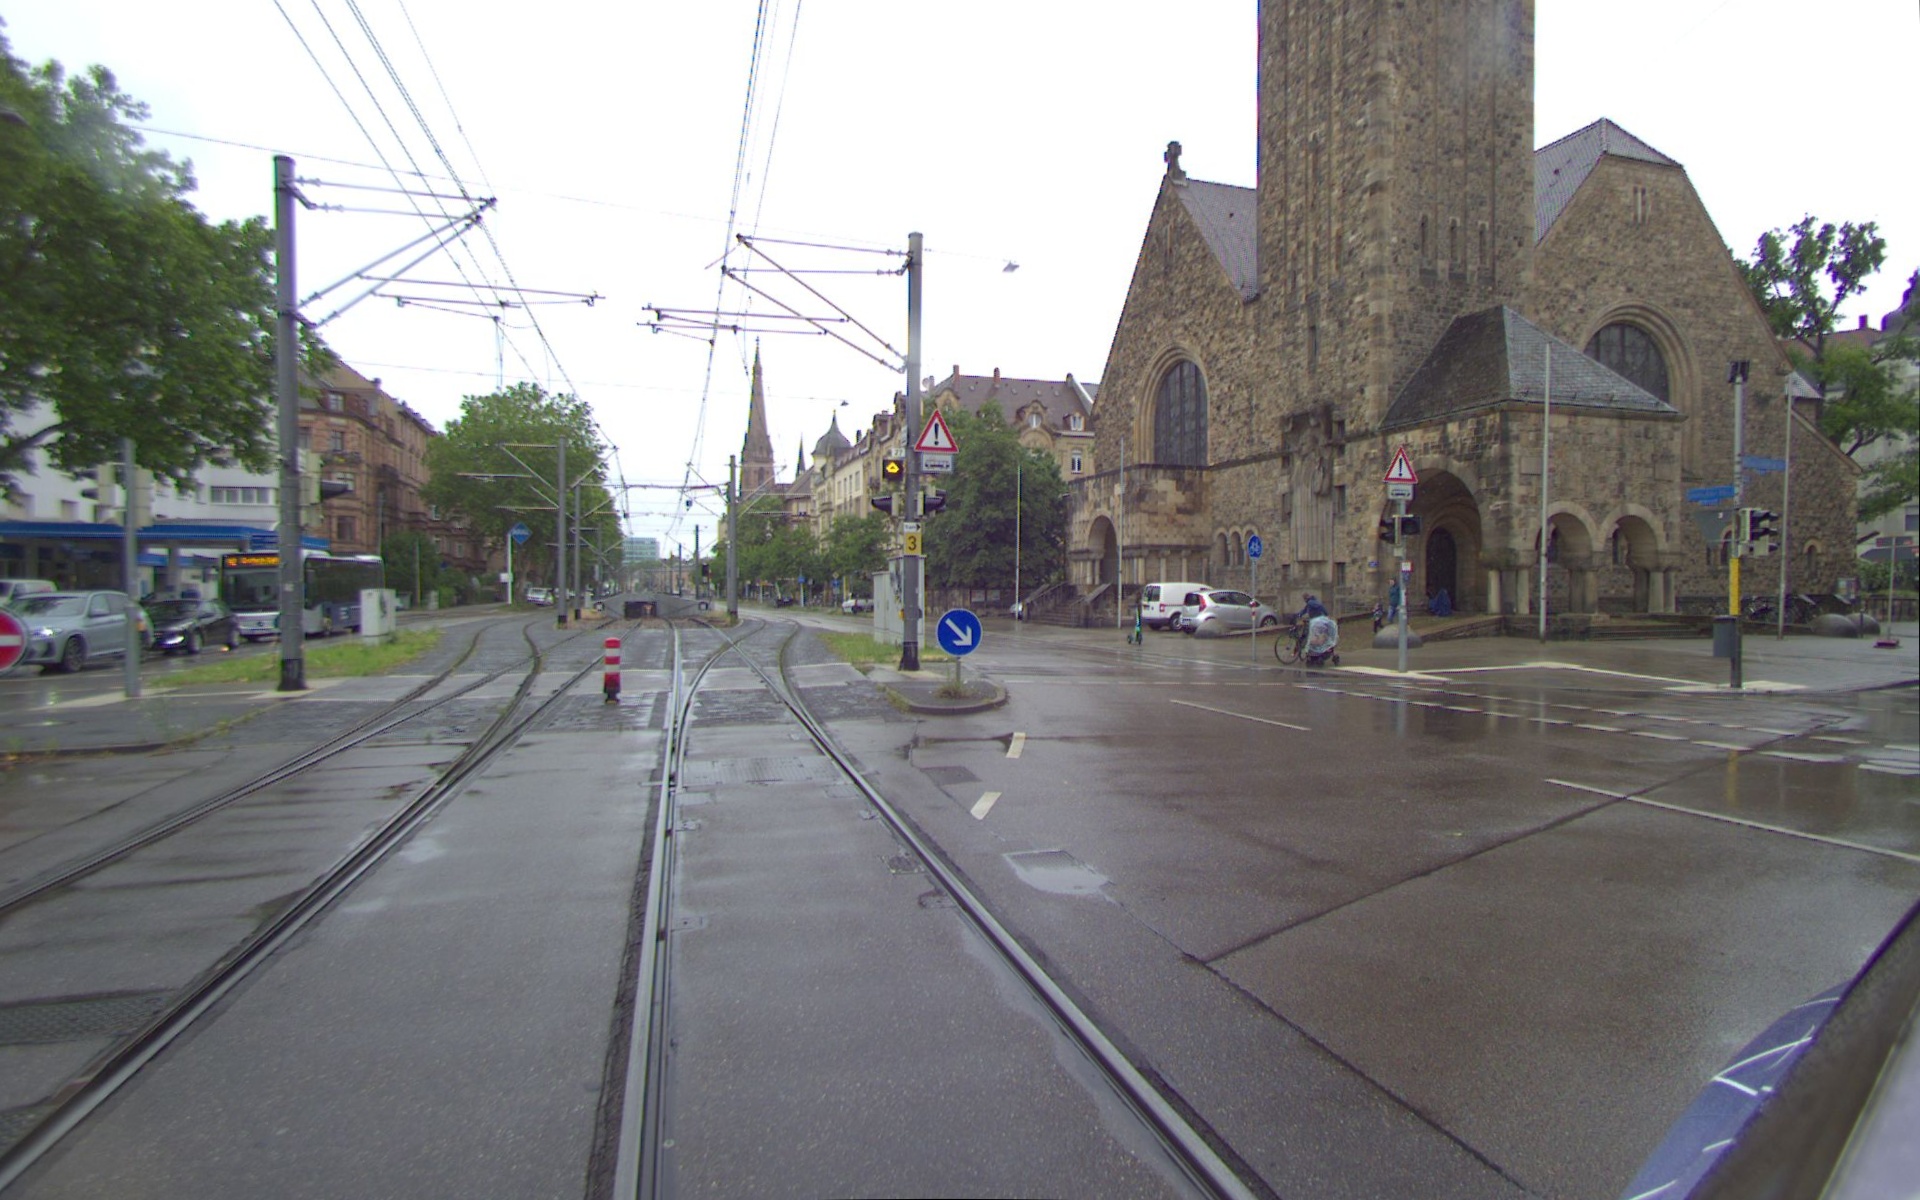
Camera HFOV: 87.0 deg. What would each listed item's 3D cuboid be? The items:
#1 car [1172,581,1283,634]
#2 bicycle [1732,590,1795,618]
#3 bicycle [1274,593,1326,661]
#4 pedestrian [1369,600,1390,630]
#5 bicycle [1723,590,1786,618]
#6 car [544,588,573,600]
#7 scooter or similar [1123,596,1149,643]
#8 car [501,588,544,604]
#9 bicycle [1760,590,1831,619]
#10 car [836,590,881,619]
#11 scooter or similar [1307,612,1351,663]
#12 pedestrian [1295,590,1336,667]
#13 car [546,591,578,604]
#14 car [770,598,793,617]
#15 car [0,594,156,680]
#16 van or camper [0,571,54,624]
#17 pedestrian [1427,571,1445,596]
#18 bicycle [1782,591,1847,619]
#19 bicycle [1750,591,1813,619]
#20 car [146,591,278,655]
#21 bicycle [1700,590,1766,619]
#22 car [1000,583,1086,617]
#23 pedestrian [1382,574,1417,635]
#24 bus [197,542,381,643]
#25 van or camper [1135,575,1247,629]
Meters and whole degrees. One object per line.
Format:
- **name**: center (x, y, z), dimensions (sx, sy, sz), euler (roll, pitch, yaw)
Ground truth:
- **car**: center (9.471, 0.241, 35.858), dimensions (3.289, 1.593, 1.740), euler (-4, 1, -16)
- **bicycle**: center (32.205, 0.137, 40.588), dimensions (0.569, 1.074, 1.932), euler (0, 1, -20)
- **bicycle**: center (7.784, 0.590, 23.115), dimensions (0.530, 1.485, 1.914), euler (0, 0, 38)
- **pedestrian**: center (12.769, 0.439, 30.818), dimensions (0.388, 0.895, 0.457), euler (0, 0, -22)
- **bicycle**: center (31.596, 0.143, 40.292), dimensions (0.569, 1.074, 1.932), euler (0, 1, -23)
- **car**: center (-56.566, -0.899, 142.531), dimensions (3.740, 1.644, 1.780), euler (0, 0, -18)
- **scooter or similar**: center (5.391, 0.585, 31.023), dimensions (0.280, 1.404, 1.106), euler (0, 0, -19)
- **car**: center (-45.588, -0.430, 105.588), dimensions (3.757, 1.644, 1.772), euler (-1, 1, -43)
- **bicycle**: center (33.698, 0.167, 40.867), dimensions (0.664, 1.074, 2.160), euler (0, 1, -20)
- **car**: center (-6.801, 0.270, 67.462), dimensions (1.939, 1.816, 4.008), euler (-1, 1, -21)
- **scooter or similar**: center (8.078, 0.802, 22.157), dimensions (0.908, 1.062, 0.514), euler (0, 0, -40)
- **pedestrian**: center (7.946, 0.621, 22.632), dimensions (0.676, 1.684, 0.604), euler (0, 0, -39)
- **car**: center (-52.064, -0.356, 132.483), dimensions (3.740, 1.644, 1.780), euler (0, 0, -18)
- **car**: center (-17.897, 0.689, 101.393), dimensions (1.744, 1.799, 4.008), euler (-1, 1, -18)
- **car**: center (-19.062, 0.699, 21.448), dimensions (1.754, 1.620, 4.565), euler (0, 1, -19)
- **van or camper**: center (-36.351, -0.109, 38.025), dimensions (1.958, 1.939, 4.680), euler (0, 1, -22)
- **pedestrian**: center (16.716, -0.583, 35.540), dimensions (0.447, 0.895, 0.397), euler (0, 0, -19)
- **bicycle**: center (34.727, 0.184, 41.175), dimensions (0.593, 1.080, 1.987), euler (0, 1, -20)
- **bicycle**: center (32.993, 0.174, 40.672), dimensions (0.569, 1.074, 1.932), euler (0, 1, -20)
- **car**: center (-20.485, 0.552, 27.908), dimensions (1.741, 1.620, 4.187), euler (0, 1, -19)
- **bicycle**: center (30.547, 0.162, 40.024), dimensions (0.565, 1.062, 2.013), euler (0, 1, -25)
- **car**: center (4.228, -0.035, 51.609), dimensions (3.916, 1.638, 2.004), euler (-1, 1, -18)
- **pedestrian**: center (12.707, 0.117, 29.280), dimensions (0.664, 1.724, 0.635), euler (0, 0, -22)
- **bus**: center (-24.622, -0.305, 37.968), dimensions (2.832, 3.152, 12.127), euler (0, 1, -19)
- **van or camper**: center (8.921, 0.040, 39.194), dimensions (3.849, 1.749, 1.652), euler (-4, 2, -18)
